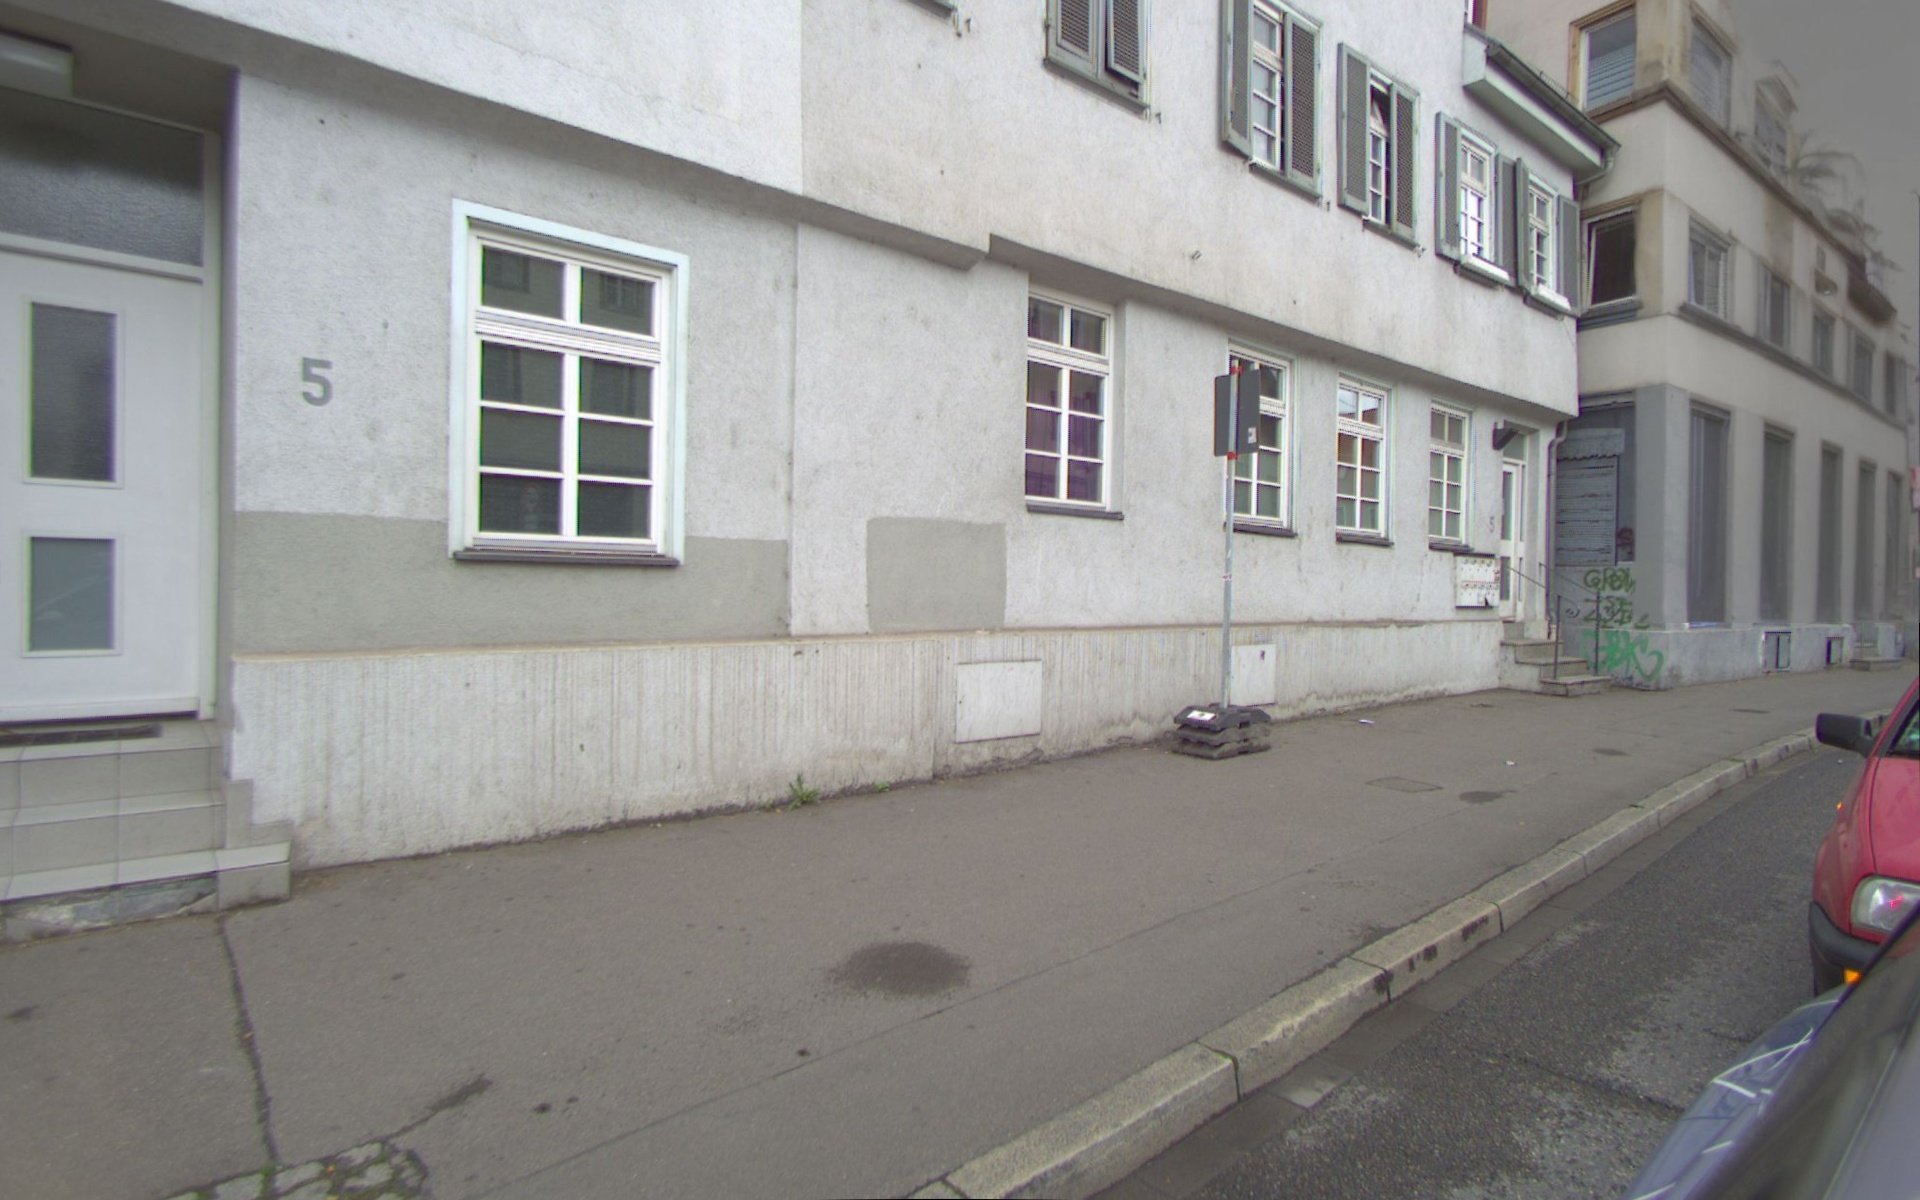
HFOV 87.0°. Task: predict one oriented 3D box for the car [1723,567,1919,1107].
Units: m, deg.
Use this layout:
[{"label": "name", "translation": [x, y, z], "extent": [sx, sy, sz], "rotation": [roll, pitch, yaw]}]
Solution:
[{"label": "car", "translation": [4.376, 0.602, 3.622], "extent": [3.929, 1.443, 1.792], "rotation": [-2, 2, -40]}]
